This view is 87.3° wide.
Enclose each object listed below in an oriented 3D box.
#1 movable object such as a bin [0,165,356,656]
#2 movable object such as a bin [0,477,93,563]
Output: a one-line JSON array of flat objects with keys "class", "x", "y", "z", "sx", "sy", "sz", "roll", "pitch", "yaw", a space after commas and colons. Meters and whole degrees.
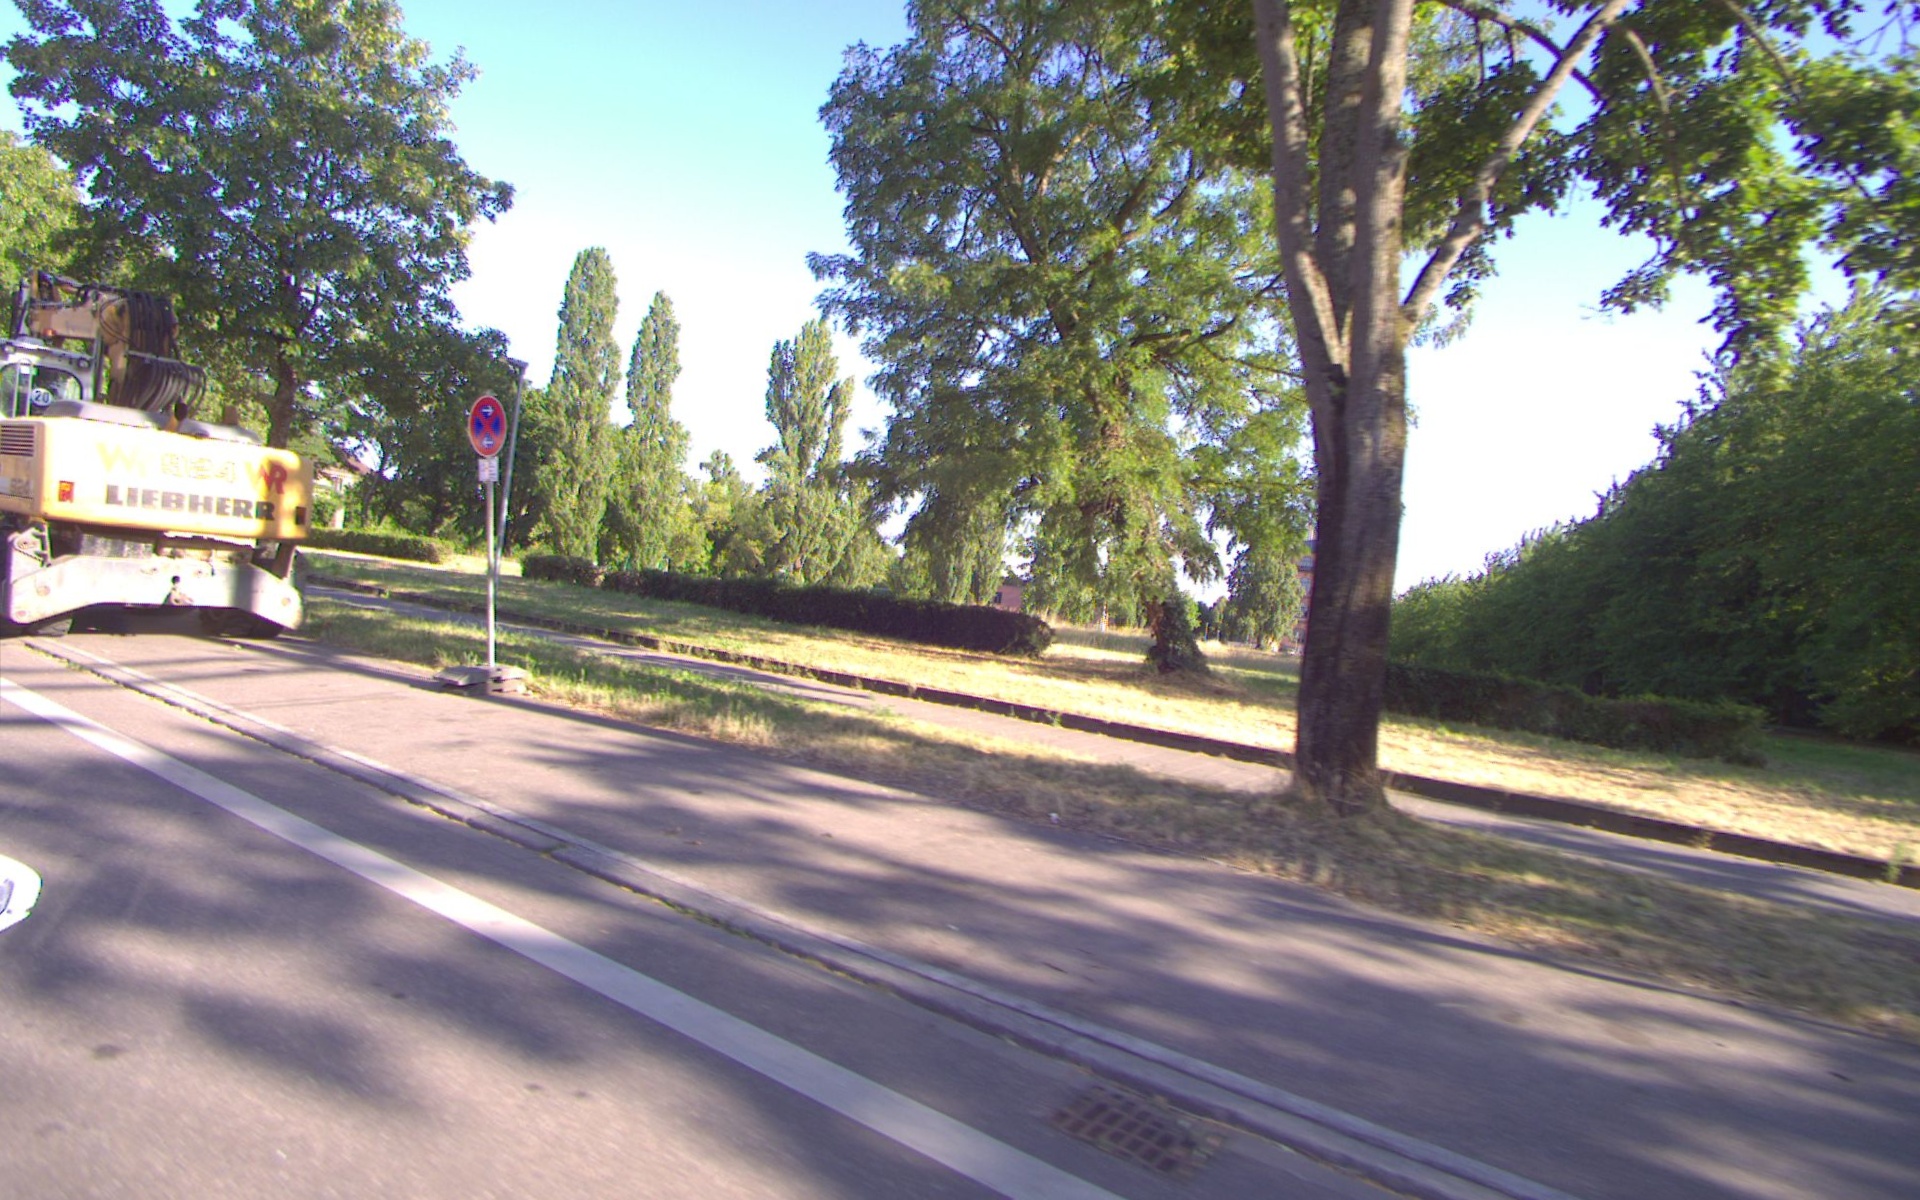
[{"class": "movable object such as a bin", "x": -11.306, "y": -2.105, "z": 12.828, "sx": 7.472, "sy": 4.673, "sz": 2.914, "roll": 6, "pitch": 3, "yaw": 31}, {"class": "movable object such as a bin", "x": -19.034, "y": -1.646, "z": 20.872, "sx": 1.283, "sy": 1.693, "sz": 1.314, "roll": 7, "pitch": 6, "yaw": 37}]
